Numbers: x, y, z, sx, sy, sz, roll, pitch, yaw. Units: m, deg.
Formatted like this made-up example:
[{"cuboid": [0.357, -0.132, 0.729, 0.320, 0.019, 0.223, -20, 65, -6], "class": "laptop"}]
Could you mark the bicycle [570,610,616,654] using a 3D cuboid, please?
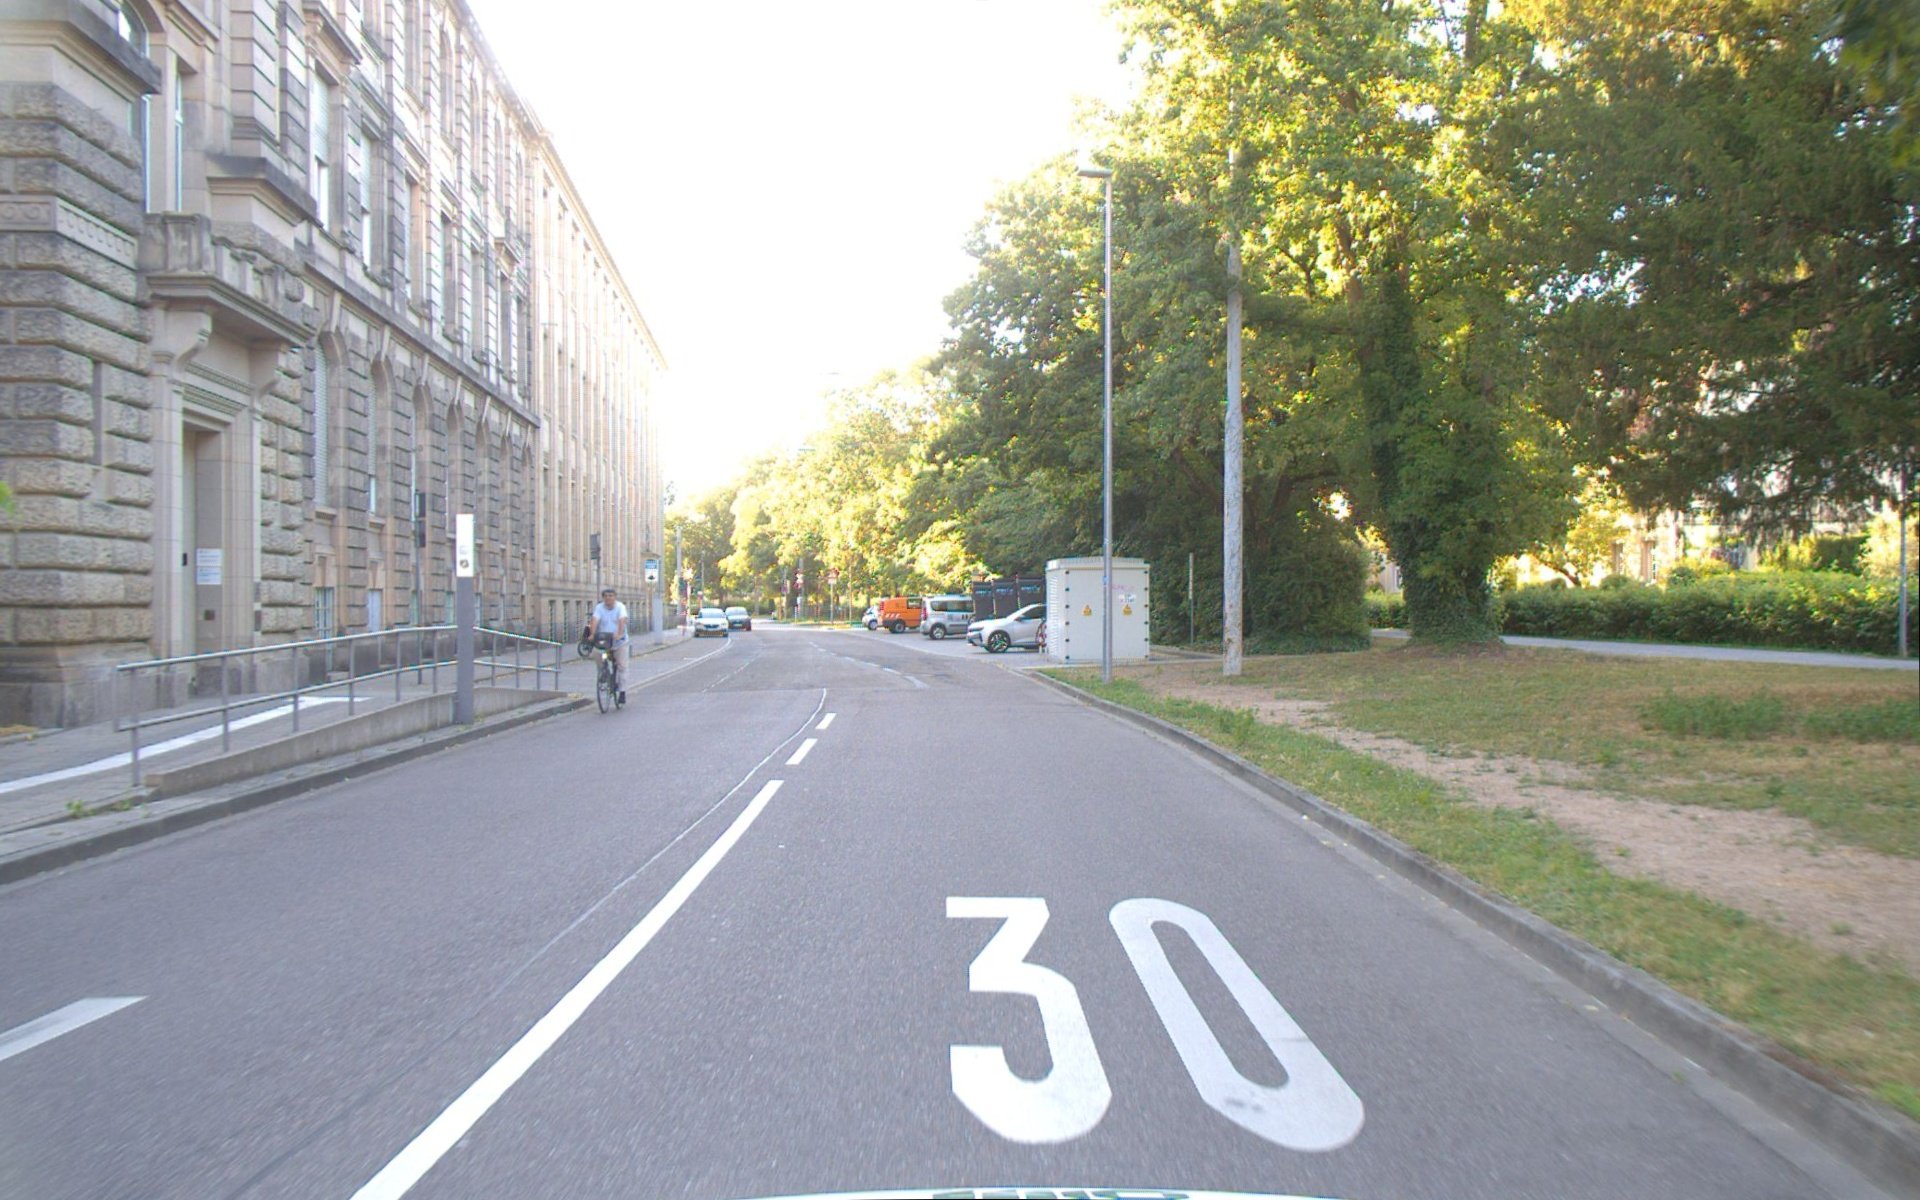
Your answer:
[{"cuboid": [-9.915, 0.854, 44.751, 0.835, 1.121, 1.981, 1, 0, -2], "class": "bicycle"}]

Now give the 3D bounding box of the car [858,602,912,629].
[{"cuboid": [-4.671, 0.969, 102.801, 3.090, 1.529, 1.535, -2, 0, -13], "class": "car"}]

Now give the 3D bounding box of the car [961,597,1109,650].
[{"cuboid": [2.307, 0.711, 51.454, 4.357, 1.495, 1.779, -2, 0, -7], "class": "car"}]

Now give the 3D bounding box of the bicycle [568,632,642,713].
[{"cuboid": [-5.165, 1.034, 24.181, 0.649, 1.089, 2.153, -1, 0, -1], "class": "bicycle"}]

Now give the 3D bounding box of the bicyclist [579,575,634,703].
[{"cuboid": [-5.157, 0.559, 24.154, 0.632, 1.838, 0.780, -1, 0, -1], "class": "bicyclist"}]

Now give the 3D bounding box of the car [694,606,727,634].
[{"cuboid": [-13.280, 1.044, 87.956, 1.695, 1.422, 4.363, 0, 0, -9], "class": "car"}]

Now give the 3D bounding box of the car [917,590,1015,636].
[{"cuboid": [0.236, 0.571, 73.485, 4.147, 1.892, 1.998, -2, -1, -6], "class": "car"}]

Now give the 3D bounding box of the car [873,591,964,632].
[{"cuboid": [-2.333, 0.649, 92.643, 4.736, 2.049, 1.796, -2, 0, -13], "class": "car"}]

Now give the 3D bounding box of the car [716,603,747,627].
[{"cuboid": [-14.571, 0.956, 105.247, 1.844, 1.492, 4.364, 0, 0, -9], "class": "car"}]
